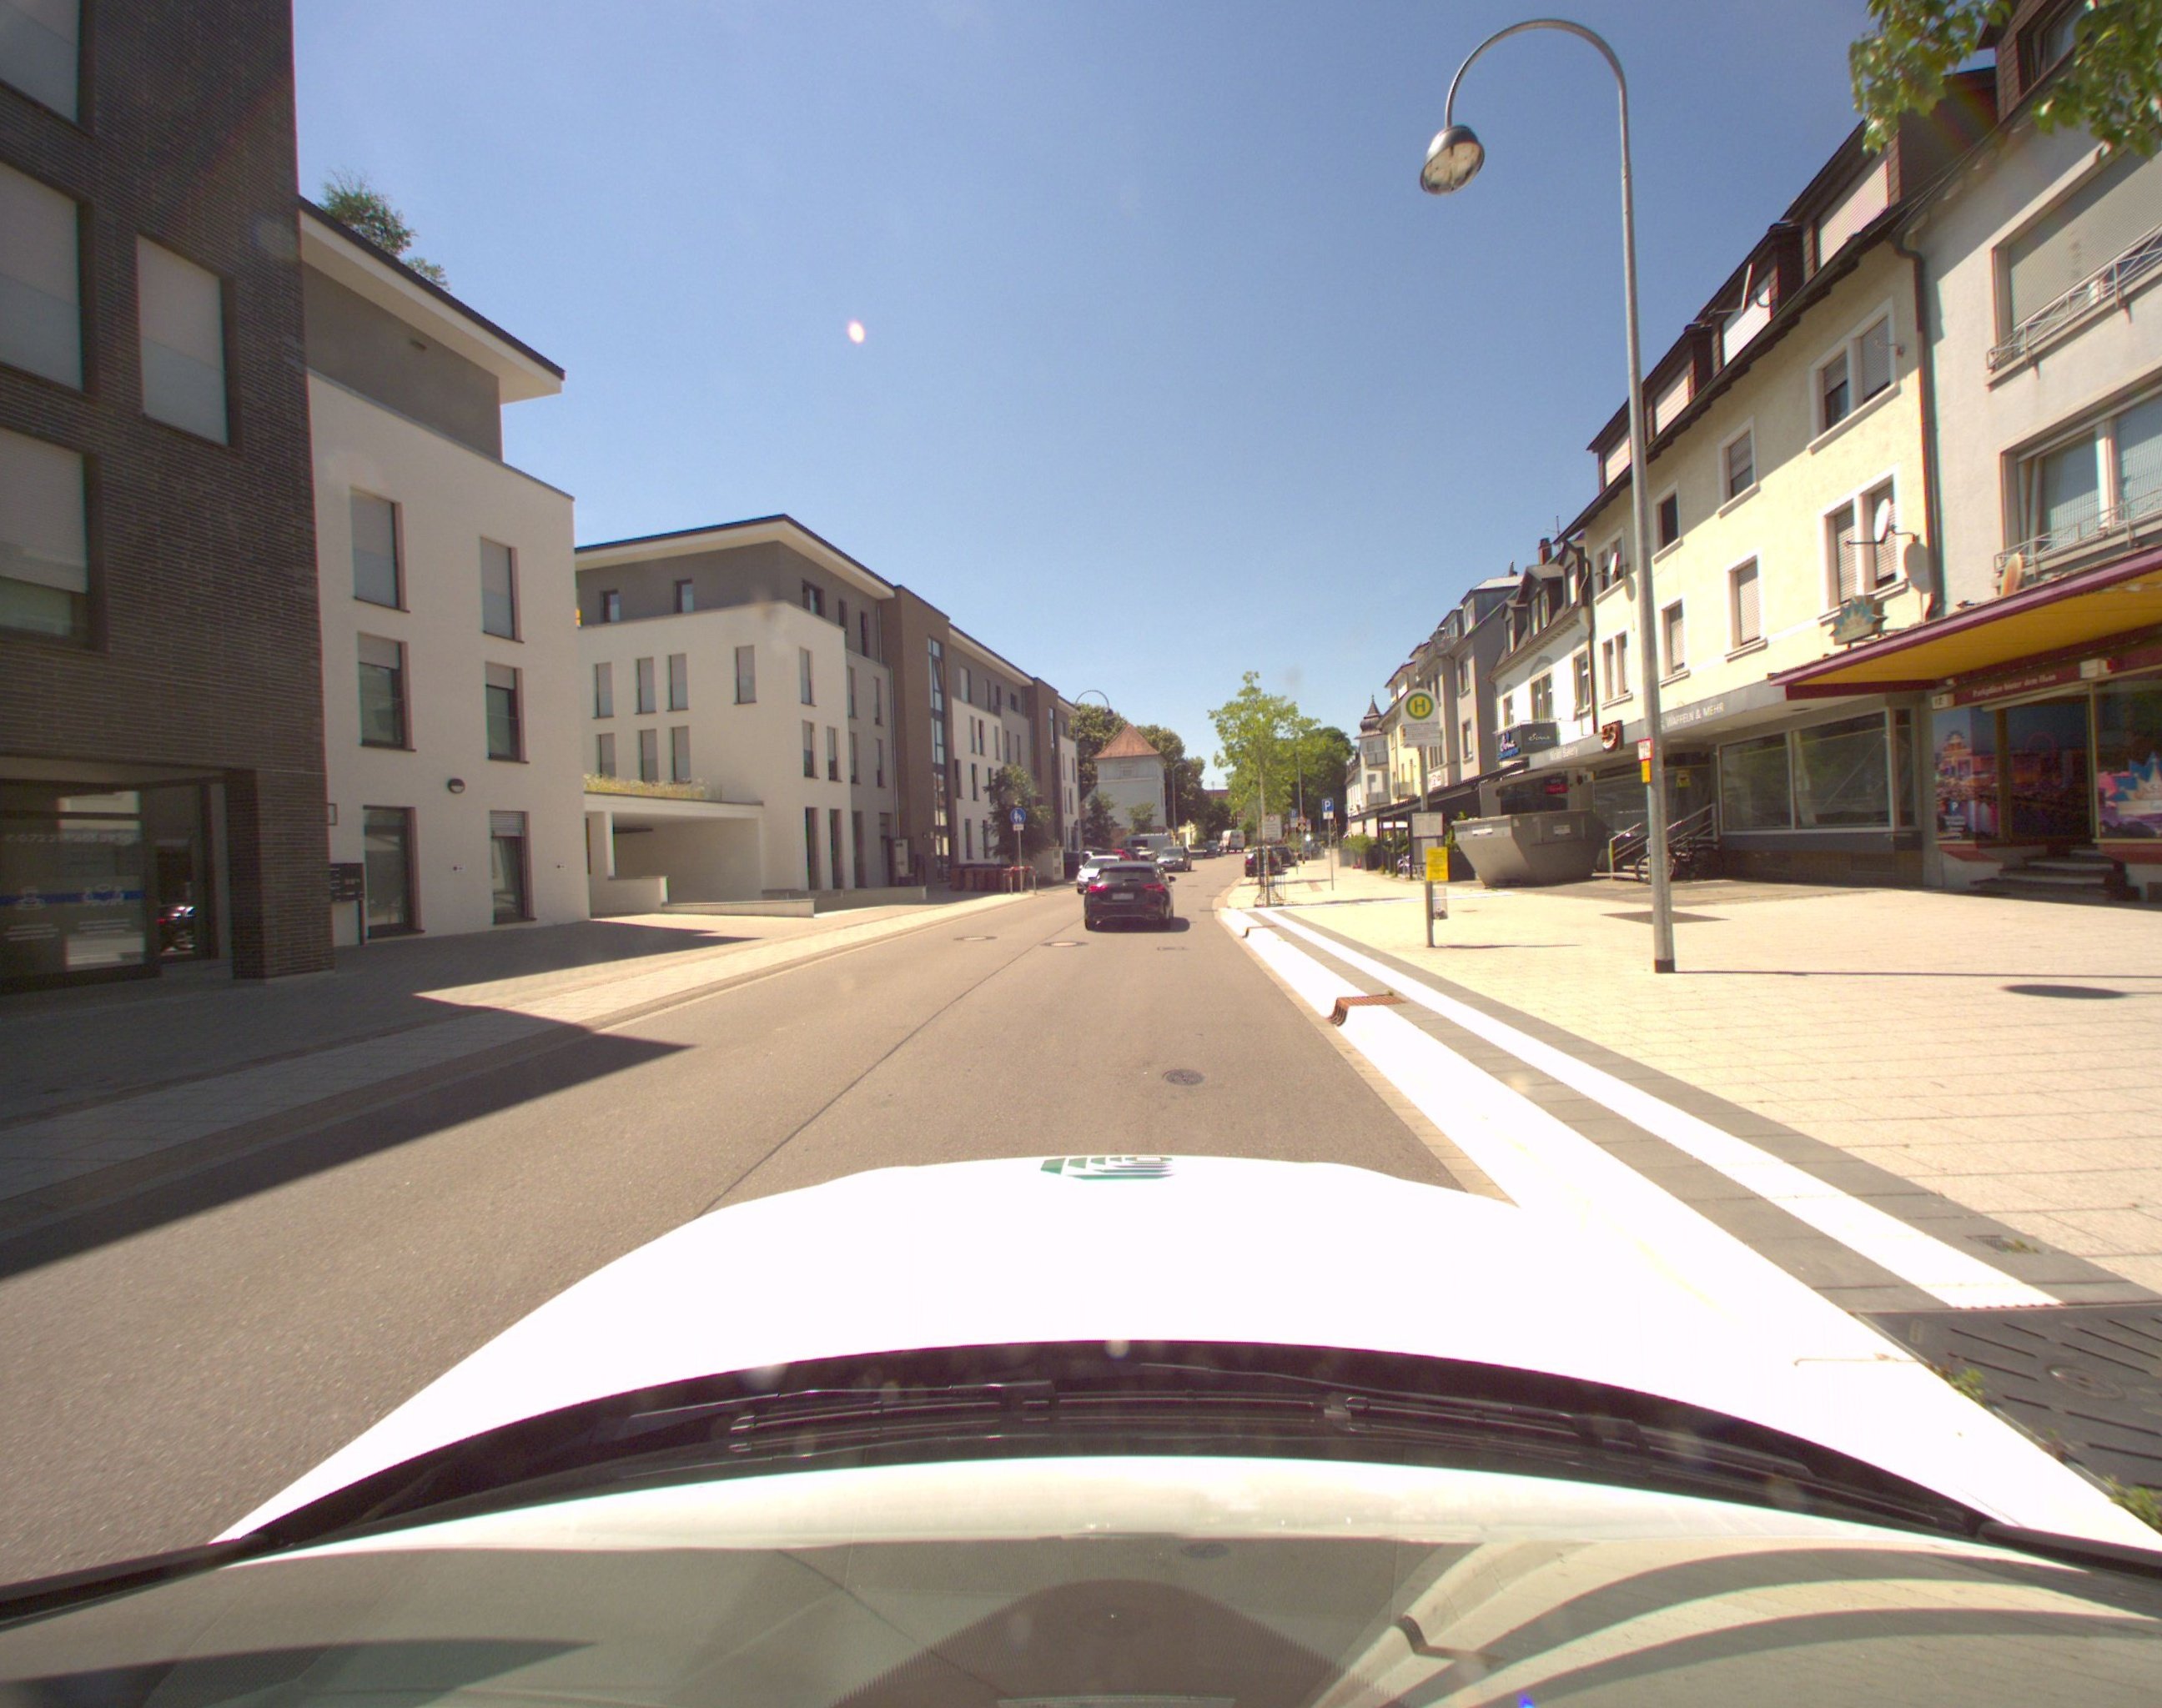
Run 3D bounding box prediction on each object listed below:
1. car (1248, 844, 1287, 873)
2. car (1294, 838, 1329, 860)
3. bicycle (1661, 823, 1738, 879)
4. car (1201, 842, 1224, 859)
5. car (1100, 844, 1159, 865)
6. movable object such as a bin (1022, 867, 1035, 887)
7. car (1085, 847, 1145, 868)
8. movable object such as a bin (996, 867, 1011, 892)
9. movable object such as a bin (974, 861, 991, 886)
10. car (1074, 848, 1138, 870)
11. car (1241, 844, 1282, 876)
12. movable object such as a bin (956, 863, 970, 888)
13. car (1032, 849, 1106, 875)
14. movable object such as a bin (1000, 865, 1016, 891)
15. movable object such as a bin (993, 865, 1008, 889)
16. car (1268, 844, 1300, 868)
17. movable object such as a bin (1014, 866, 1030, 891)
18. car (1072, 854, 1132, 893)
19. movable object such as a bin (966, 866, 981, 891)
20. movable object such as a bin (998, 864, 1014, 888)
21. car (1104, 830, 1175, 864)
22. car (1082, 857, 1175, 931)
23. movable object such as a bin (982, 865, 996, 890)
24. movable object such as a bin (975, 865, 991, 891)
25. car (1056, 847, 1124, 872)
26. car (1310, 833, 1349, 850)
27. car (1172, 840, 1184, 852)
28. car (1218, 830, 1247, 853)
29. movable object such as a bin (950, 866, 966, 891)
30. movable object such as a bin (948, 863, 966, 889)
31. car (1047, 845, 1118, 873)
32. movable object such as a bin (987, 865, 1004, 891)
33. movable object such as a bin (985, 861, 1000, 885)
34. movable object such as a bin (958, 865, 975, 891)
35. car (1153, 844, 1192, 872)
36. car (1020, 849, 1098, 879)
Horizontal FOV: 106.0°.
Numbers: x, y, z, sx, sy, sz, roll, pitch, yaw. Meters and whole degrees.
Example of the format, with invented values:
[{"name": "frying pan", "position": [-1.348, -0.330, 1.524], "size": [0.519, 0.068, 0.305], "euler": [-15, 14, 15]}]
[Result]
[{"name": "car", "position": [11.269, 0.233, 48.990], "size": [1.723, 1.486, 4.074], "euler": [-5, -1, 19]}, {"name": "car", "position": [18.598, -0.392, 65.513], "size": [1.854, 1.491, 3.886], "euler": [-4, 1, 27]}, {"name": "bicycle", "position": [13.501, -0.056, 17.813], "size": [1.259, 1.184, 0.417], "euler": [-1, -1, 21]}, {"name": "car", "position": [13.648, -0.402, 84.285], "size": [1.796, 1.701, 4.094], "euler": [-1, 0, 17]}, {"name": "car", "position": [3.887, -0.004, 65.557], "size": [4.422, 1.591, 2.008], "euler": [-1, 0, 13]}, {"name": "movable object such as a bin", "position": [-2.369, 1.021, 36.838], "size": [0.553, 0.867, 0.481], "euler": [-2, 0, -4]}, {"name": "car", "position": [2.530, 0.250, 60.116], "size": [4.174, 1.437, 1.891], "euler": [-1, 0, 9]}, {"name": "movable object such as a bin", "position": [-3.179, 1.045, 33.464], "size": [0.400, 0.998, 0.558], "euler": [-2, 0, 12]}, {"name": "movable object such as a bin", "position": [-4.352, 0.853, 35.988], "size": [0.674, 1.039, 0.604], "euler": [-2, 0, -4]}, {"name": "car", "position": [1.760, 0.327, 56.131], "size": [4.002, 1.430, 2.009], "euler": [-1, 0, 16]}, {"name": "car", "position": [9.573, 0.301, 43.059], "size": [1.819, 1.482, 4.112], "euler": [-5, -1, 15]}, {"name": "movable object such as a bin", "position": [-5.243, 0.951, 36.131], "size": [0.553, 1.039, 0.481], "euler": [-2, 0, -4]}, {"name": "car", "position": [-0.697, 0.480, 48.320], "size": [3.958, 1.421, 1.917], "euler": [-1, 0, 14]}, {"name": "movable object such as a bin", "position": [-2.942, 0.956, 32.839], "size": [0.480, 0.998, 0.589], "euler": [-2, 0, 6]}, {"name": "movable object such as a bin", "position": [-3.442, 0.996, 35.032], "size": [0.552, 0.998, 0.404], "euler": [-3, 0, 0]}, {"name": "car", "position": [13.739, 0.105, 55.022], "size": [1.710, 1.405, 4.630], "euler": [-4, 0, 18]}, {"name": "movable object such as a bin", "position": [-2.432, 0.991, 33.461], "size": [0.479, 0.998, 0.590], "euler": [-2, 0, 12]}, {"name": "car", "position": [0.900, 0.733, 32.386], "size": [1.656, 1.396, 3.861], "euler": [-2, 0, 12]}, {"name": "movable object such as a bin", "position": [-4.437, 1.022, 33.504], "size": [0.400, 0.998, 0.558], "euler": [-2, 0, 12]}, {"name": "movable object such as a bin", "position": [-3.311, 0.957, 35.856], "size": [0.551, 1.020, 0.562], "euler": [-2, 0, 9]}, {"name": "car", "position": [5.037, -0.583, 70.216], "size": [5.725, 2.732, 2.301], "euler": [-1, 0, 14]}, {"name": "car", "position": [1.173, 0.809, 18.219], "size": [1.818, 1.442, 4.007], "euler": [-2, 0, 6]}, {"name": "movable object such as a bin", "position": [-3.811, 0.976, 33.697], "size": [0.400, 0.998, 0.558], "euler": [-2, 0, 12]}, {"name": "movable object such as a bin", "position": [-3.987, 0.968, 33.156], "size": [0.421, 0.998, 0.525], "euler": [-2, 0, 13]}, {"name": "car", "position": [0.607, 0.361, 53.511], "size": [4.002, 1.496, 2.009], "euler": [-1, 0, 16]}, {"name": "car", "position": [27.497, -1.391, 90.173], "size": [4.048, 1.715, 1.862], "euler": [-1, 0, 12]}, {"name": "car", "position": [16.643, -1.300, 140.086], "size": [1.984, 2.013, 4.006], "euler": [-1, 0, 5]}, {"name": "car", "position": [18.098, -1.419, 97.533], "size": [2.124, 2.630, 5.267], "euler": [-1, 0, -5]}, {"name": "movable object such as a bin", "position": [-5.065, 0.999, 33.661], "size": [0.480, 0.998, 0.589], "euler": [-2, 0, 6]}, {"name": "movable object such as a bin", "position": [-5.342, 0.941, 35.132], "size": [0.690, 1.095, 0.647], "euler": [-2, 0, -4]}, {"name": "car", "position": [0.110, 0.301, 50.729], "size": [4.002, 1.651, 2.009], "euler": [-1, 0, 16]}, {"name": "movable object such as a bin", "position": [-3.464, 0.962, 33.028], "size": [0.479, 0.998, 0.590], "euler": [-2, 0, 13]}, {"name": "movable object such as a bin", "position": [-3.976, 0.850, 36.631], "size": [0.574, 1.039, 0.549], "euler": [-2, 0, -4]}, {"name": "movable object such as a bin", "position": [-4.613, 0.978, 32.950], "size": [0.479, 0.998, 0.528], "euler": [-2, 0, 13]}, {"name": "car", "position": [5.939, 0.222, 52.448], "size": [1.928, 1.658, 4.251], "euler": [-1, 0, 13]}, {"name": "car", "position": [-1.235, 0.572, 46.154], "size": [3.959, 1.515, 2.008], "euler": [-1, 2, 13]}]
